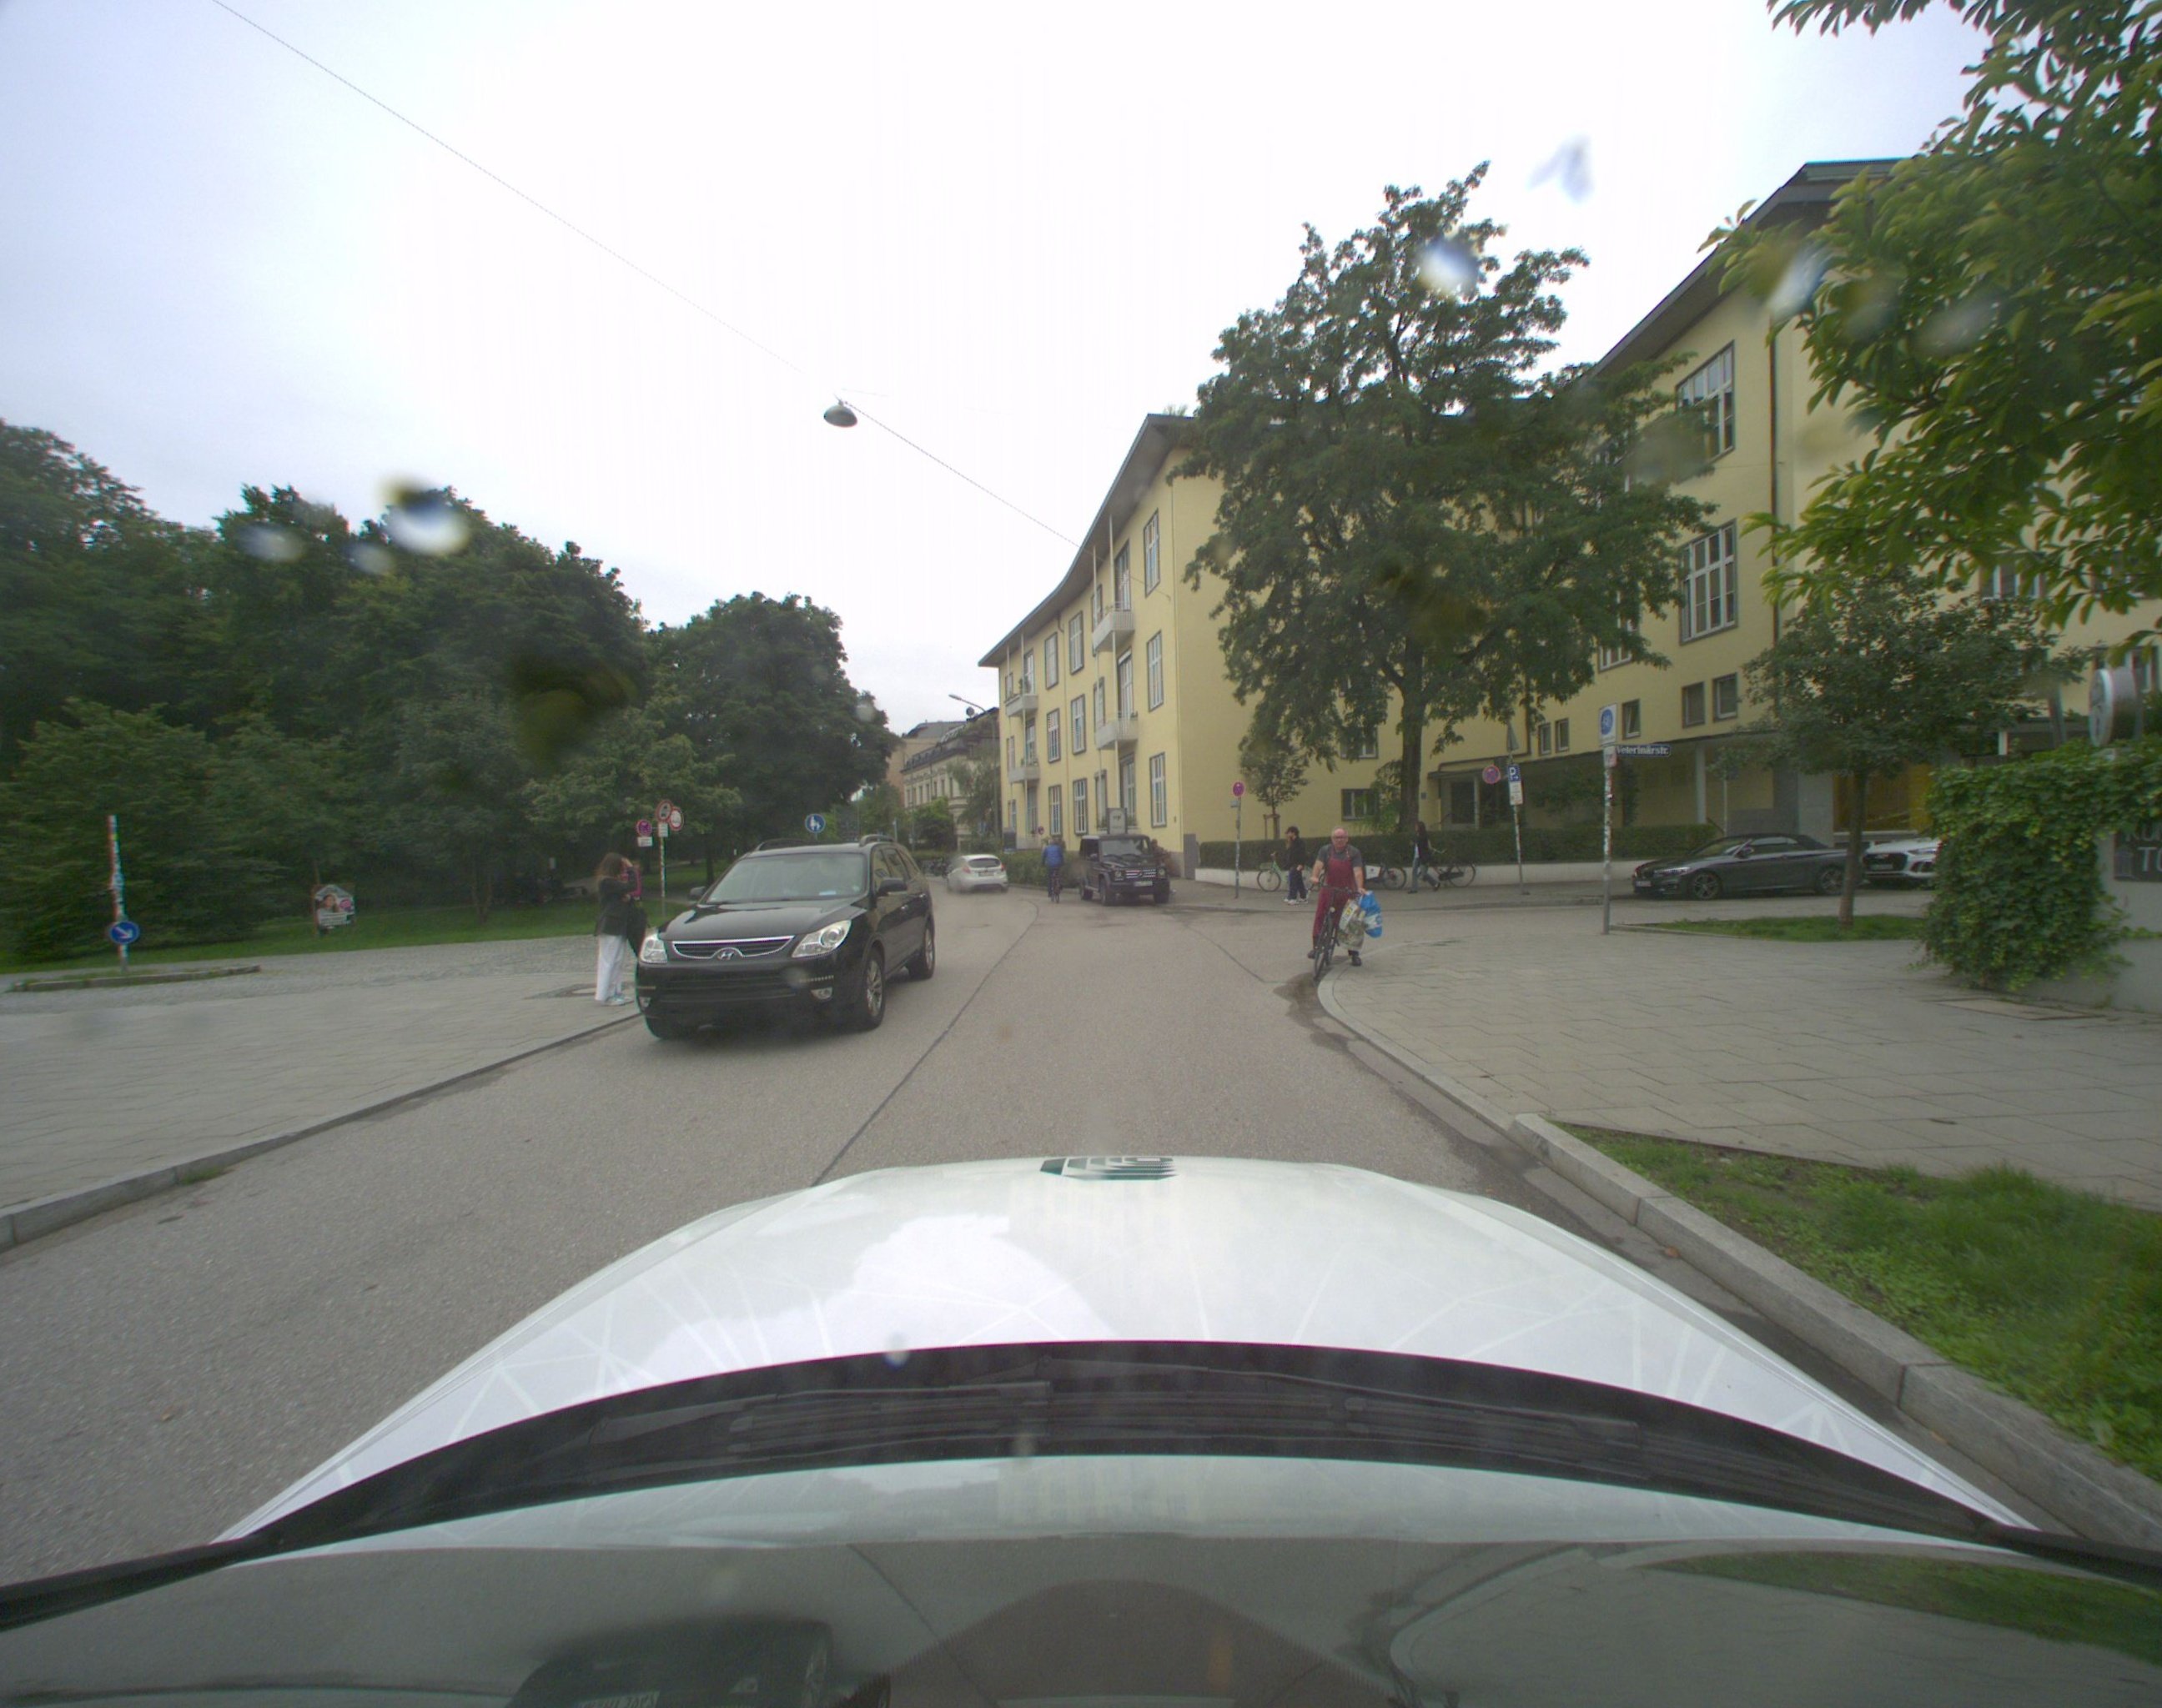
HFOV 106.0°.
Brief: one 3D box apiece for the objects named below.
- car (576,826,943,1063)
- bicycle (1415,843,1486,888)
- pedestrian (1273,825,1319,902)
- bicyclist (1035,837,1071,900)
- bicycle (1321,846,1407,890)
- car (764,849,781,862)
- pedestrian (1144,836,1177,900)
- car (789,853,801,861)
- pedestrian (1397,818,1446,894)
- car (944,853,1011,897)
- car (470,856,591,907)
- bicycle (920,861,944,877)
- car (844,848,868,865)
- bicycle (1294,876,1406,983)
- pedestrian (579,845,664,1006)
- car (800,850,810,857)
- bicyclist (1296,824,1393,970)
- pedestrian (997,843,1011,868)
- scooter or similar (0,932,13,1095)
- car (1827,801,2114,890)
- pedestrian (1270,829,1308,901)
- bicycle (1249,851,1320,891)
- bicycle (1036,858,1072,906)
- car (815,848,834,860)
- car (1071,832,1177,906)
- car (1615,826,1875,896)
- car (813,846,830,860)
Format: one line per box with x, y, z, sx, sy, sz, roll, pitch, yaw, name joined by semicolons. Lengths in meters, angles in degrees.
-2.810;0.646;8.460;1.988;1.719;4.613;-2;1;-1;car
9.847;0.300;21.718;1.676;1.130;0.460;-2;1;0;bicycle
5.168;0.223;19.581;0.982;1.809;0.662;-2;0;14;pedestrian
-0.820;0.404;23.585;0.912;1.764;1.213;-2;1;-5;bicyclist
7.694;0.385;22.233;2.150;1.115;0.643;-2;1;17;bicycle
-40.943;0.207;108.024;2.002;1.600;4.433;-2;1;-23;car
2.269;0.380;23.409;0.845;1.757;0.954;-2;1;3;pedestrian
-60.021;0.603;171.088;1.804;1.658;4.231;-2;0;-13;car
8.690;0.052;20.832;0.847;1.857;0.767;-3;0;0;pedestrian
-3.792;0.702;29.429;1.752;1.406;3.705;-2;1;-17;car
-24.530;1.176;36.407;1.764;2.013;4.026;-2;1;33;car
-9.934;1.011;54.475;1.546;1.014;0.404;-4;1;-39;bicycle
-23.746;0.271;85.957;1.801;1.679;3.968;-2;1;-24;car
3.141;0.834;9.751;0.871;1.019;2.196;-2;1;8;bicycle
-5.109;0.764;9.083;0.542;1.697;0.664;-3;0;-10;pedestrian
-65.806;-0.207;194.205;1.997;1.600;4.445;-2;1;-14;car
3.091;0.478;9.659;0.870;1.609;1.051;-2;1;7;bicyclist
-5.160;0.104;54.558;0.634;1.684;0.693;-3;1;-22;pedestrian
-8.575;1.209;5.848;0.434;1.212;1.060;-2;-2;33;scooter or similar
19.980;-0.153;18.446;4.291;1.662;1.858;-3;-2;1;car
5.190;0.270;20.366;0.822;1.746;0.742;-2;1;8;pedestrian
5.854;0.511;23.510;1.925;1.084;0.532;-4;-1;44;bicycle
-0.804;0.779;23.654;0.919;1.252;2.318;-2;1;-4;bicycle
-34.720;-0.004;110.248;2.003;1.600;4.221;-2;1;-24;car
1.113;0.368;23.613;1.875;1.887;4.599;-2;1;-12;car
14.638;0.179;18.136;4.302;1.367;1.663;-2;-2;2;car
-38.021;-0.115;119.123;2.073;1.966;4.944;-2;1;-20;car
